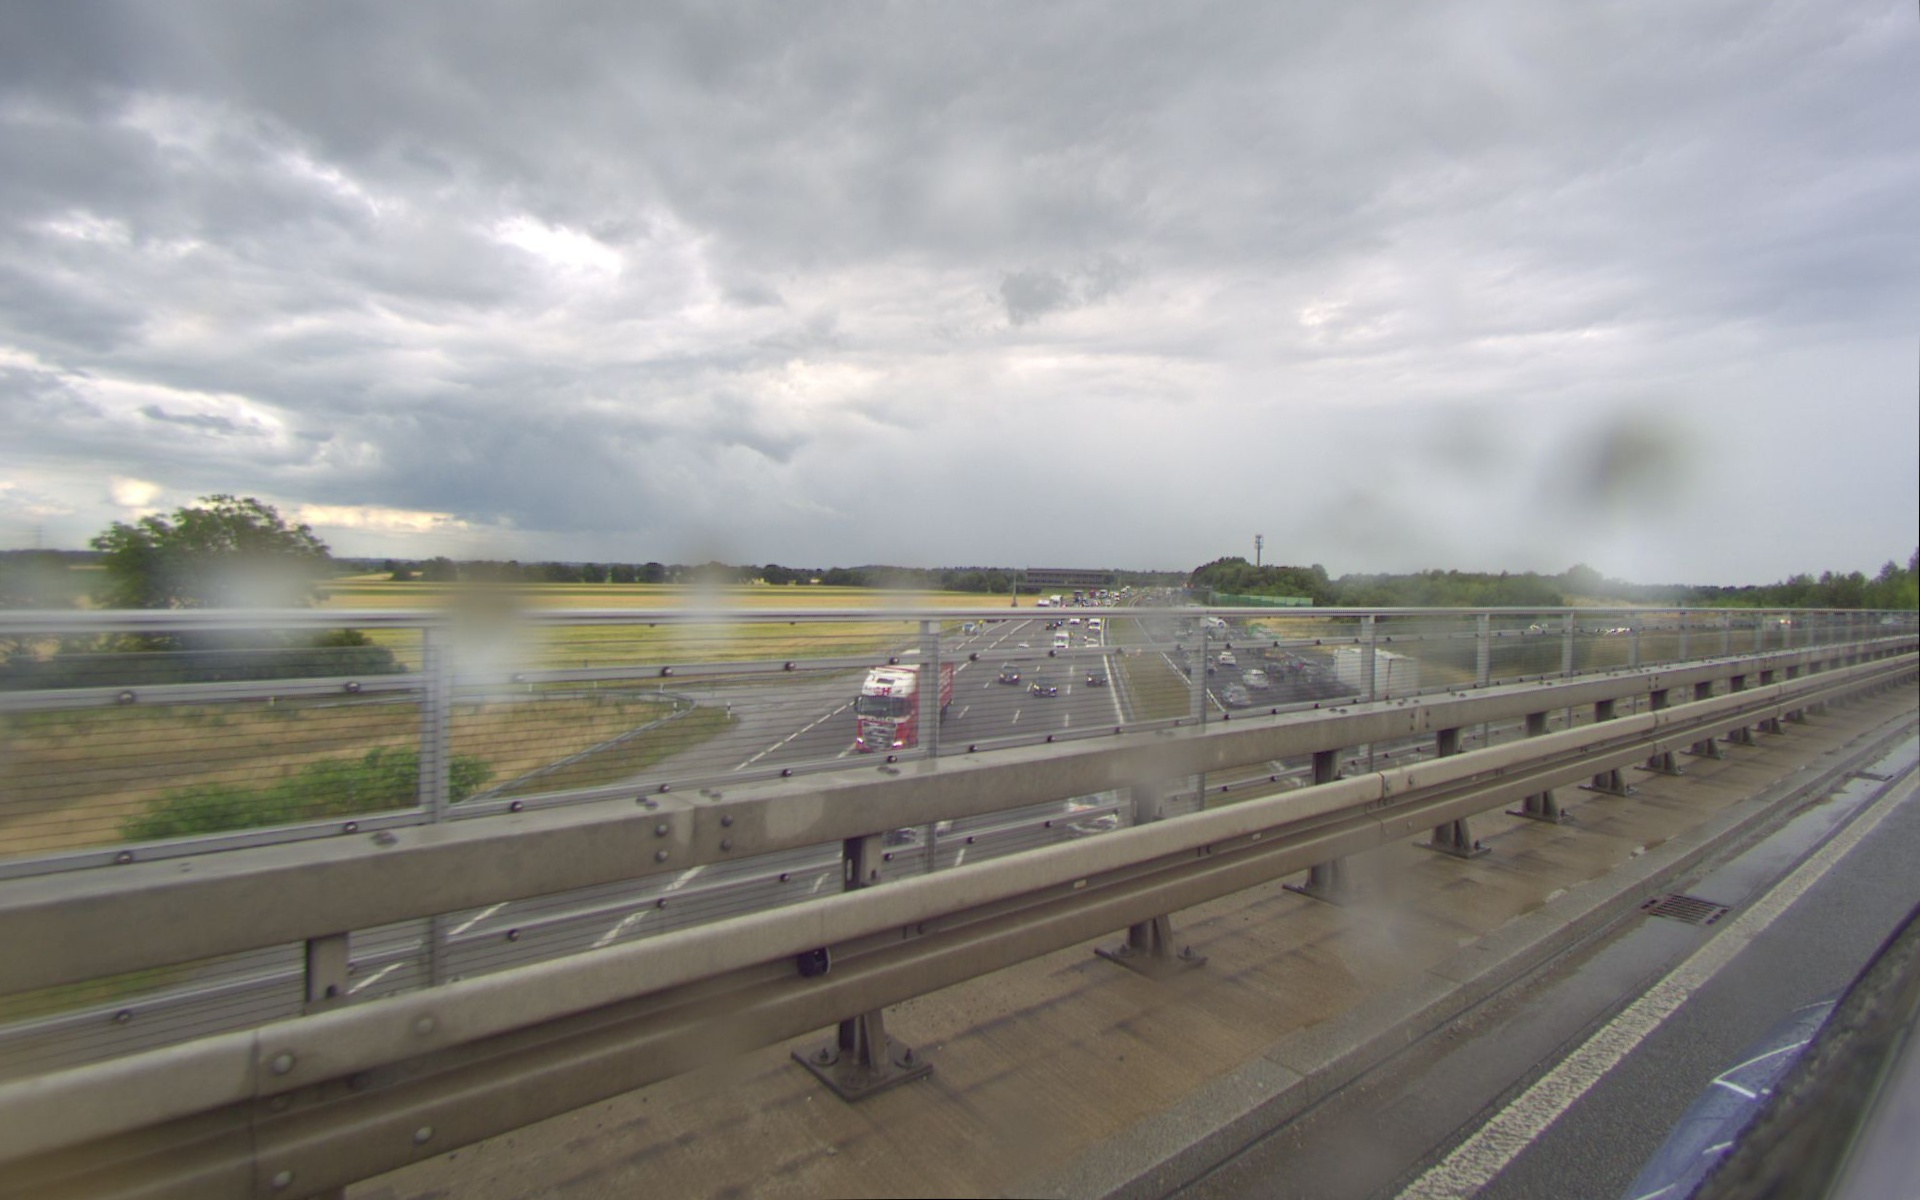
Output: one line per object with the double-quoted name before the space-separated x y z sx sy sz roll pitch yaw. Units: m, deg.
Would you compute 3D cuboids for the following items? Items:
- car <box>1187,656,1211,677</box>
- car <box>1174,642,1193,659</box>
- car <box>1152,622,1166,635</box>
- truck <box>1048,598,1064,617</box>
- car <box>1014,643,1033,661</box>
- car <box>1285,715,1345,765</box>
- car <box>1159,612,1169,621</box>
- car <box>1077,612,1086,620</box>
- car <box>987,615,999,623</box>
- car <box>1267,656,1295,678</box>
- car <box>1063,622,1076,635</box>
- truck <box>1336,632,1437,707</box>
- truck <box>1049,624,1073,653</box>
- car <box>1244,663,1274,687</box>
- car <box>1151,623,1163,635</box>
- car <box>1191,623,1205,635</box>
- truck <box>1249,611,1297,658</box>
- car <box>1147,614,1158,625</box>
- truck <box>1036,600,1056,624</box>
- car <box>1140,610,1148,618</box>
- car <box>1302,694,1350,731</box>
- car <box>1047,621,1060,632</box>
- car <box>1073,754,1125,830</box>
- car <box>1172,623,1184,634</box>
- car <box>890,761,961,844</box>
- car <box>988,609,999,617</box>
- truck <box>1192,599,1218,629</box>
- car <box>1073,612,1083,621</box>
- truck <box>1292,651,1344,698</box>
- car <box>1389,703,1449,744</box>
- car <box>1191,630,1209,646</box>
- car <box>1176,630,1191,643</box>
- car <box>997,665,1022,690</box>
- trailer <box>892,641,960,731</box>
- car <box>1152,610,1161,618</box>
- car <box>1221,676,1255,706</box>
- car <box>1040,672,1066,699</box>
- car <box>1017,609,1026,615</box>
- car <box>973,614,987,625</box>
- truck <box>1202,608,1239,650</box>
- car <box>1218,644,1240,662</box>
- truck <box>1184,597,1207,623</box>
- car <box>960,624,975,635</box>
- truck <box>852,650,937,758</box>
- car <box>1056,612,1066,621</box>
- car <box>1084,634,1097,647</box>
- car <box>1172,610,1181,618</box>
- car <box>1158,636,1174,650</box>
"car" 23.163 6.447 98.204 1.826 1.690 4.713 0 0 8
"car" 26.632 6.022 120.835 1.826 1.690 4.713 0 0 8
"car" 30.007 4.248 152.562 1.826 1.797 4.713 0 0 8
"truck" 24.685 1.943 259.368 2.751 4.676 12.711 0 0 12
"car" 7.023 5.735 111.318 1.784 1.690 4.714 0 0 8
"car" 17.097 6.708 48.941 1.826 1.690 4.713 0 0 8
"car" 43.239 3.554 214.229 1.826 1.797 4.713 0 0 8
"car" 26.536 3.539 221.070 1.826 1.690 4.713 0 0 8
"car" 6.206 3.526 189.937 1.783 1.454 4.715 0 0 7
"car" 30.962 6.440 97.697 1.826 1.690 4.713 0 0 8
"car" 16.735 4.325 154.185 1.784 1.690 4.714 0 0 8
"truck" 32.756 5.122 78.716 3.545 4.594 15.589 0 0 9
"truck" 12.544 4.687 125.394 2.553 3.219 8.375 0 0 9
"car" 26.106 6.531 88.368 1.826 1.690 4.713 0 0 8
"car" 33.615 4.909 172.908 1.826 1.797 4.713 0 0 8
"car" 40.188 4.918 171.073 1.826 1.797 4.713 0 0 8
"truck" 39.212 4.190 127.385 3.241 5.230 15.596 0 0 8
"car" 35.549 3.607 186.935 1.826 1.797 4.713 0 0 8
"truck" 18.584 2.592 218.008 2.751 4.962 12.711 0 0 12
"car" 42.302 3.242 232.750 1.826 1.797 4.713 0 0 8
"car" 22.420 6.875 62.150 1.826 1.690 4.713 0 0 8
"car" 16.065 4.570 173.773 1.826 1.690 4.713 0 0 8
"car" 5.114 7.014 37.496 1.783 1.870 4.715 0 0 7
"car" 37.921 4.896 176.046 1.826 1.797 4.713 0 0 8
"car" -1.153 7.050 35.708 1.783 1.908 4.715 0 0 7
"car" 6.783 2.587 203.372 1.783 1.454 4.715 0 0 7
"truck" 47.866 2.605 198.160 3.434 5.420 15.596 0 0 8
"car" 23.499 3.174 201.088 1.826 1.690 4.713 0 0 8
"truck" 28.755 5.916 81.728 2.175 3.003 9.286 0 0 8
"car" 25.921 6.916 57.291 1.826 1.690 4.713 0 0 8
"car" 31.191 4.904 131.462 1.826 1.797 4.713 0 0 8
"car" 34.812 5.614 157.766 1.826 1.797 4.713 0 0 8
"car" 4.286 6.595 86.684 1.784 1.690 4.714 0 0 8
"trailer" -1.993 5.171 63.442 2.641 4.687 9.887 0 0 8
"car" 47.543 3.360 244.638 1.826 1.797 4.713 0 0 8
"car" 20.032 6.513 73.116 1.826 1.690 4.713 0 0 8
"car" 7.311 6.650 79.317 1.784 1.690 4.714 0 0 8
"car" 13.582 2.653 224.435 1.783 1.454 4.715 0 0 7
"car" 3.306 3.241 168.274 1.826 1.690 4.713 0 0 8
"truck" 37.421 3.981 146.028 3.241 5.511 15.596 0 0 8
"car" 28.975 5.682 109.073 1.826 1.690 4.713 0 0 8
"truck" 52.078 2.059 223.824 3.434 5.420 15.596 0 0 8
"car" 1.200 4.478 154.022 1.783 1.454 4.715 0 0 7
"truck" -3.295 5.252 53.742 2.641 4.684 9.732 0 0 8
"car" 21.449 3.539 215.101 1.826 1.690 4.713 0 0 8
"car" 19.116 5.919 148.048 1.826 1.690 4.713 0 0 8
"car" 49.500 3.236 231.242 1.826 1.797 4.713 0 0 8
"car" 28.732 5.945 141.293 1.826 1.690 4.713 0 0 8
